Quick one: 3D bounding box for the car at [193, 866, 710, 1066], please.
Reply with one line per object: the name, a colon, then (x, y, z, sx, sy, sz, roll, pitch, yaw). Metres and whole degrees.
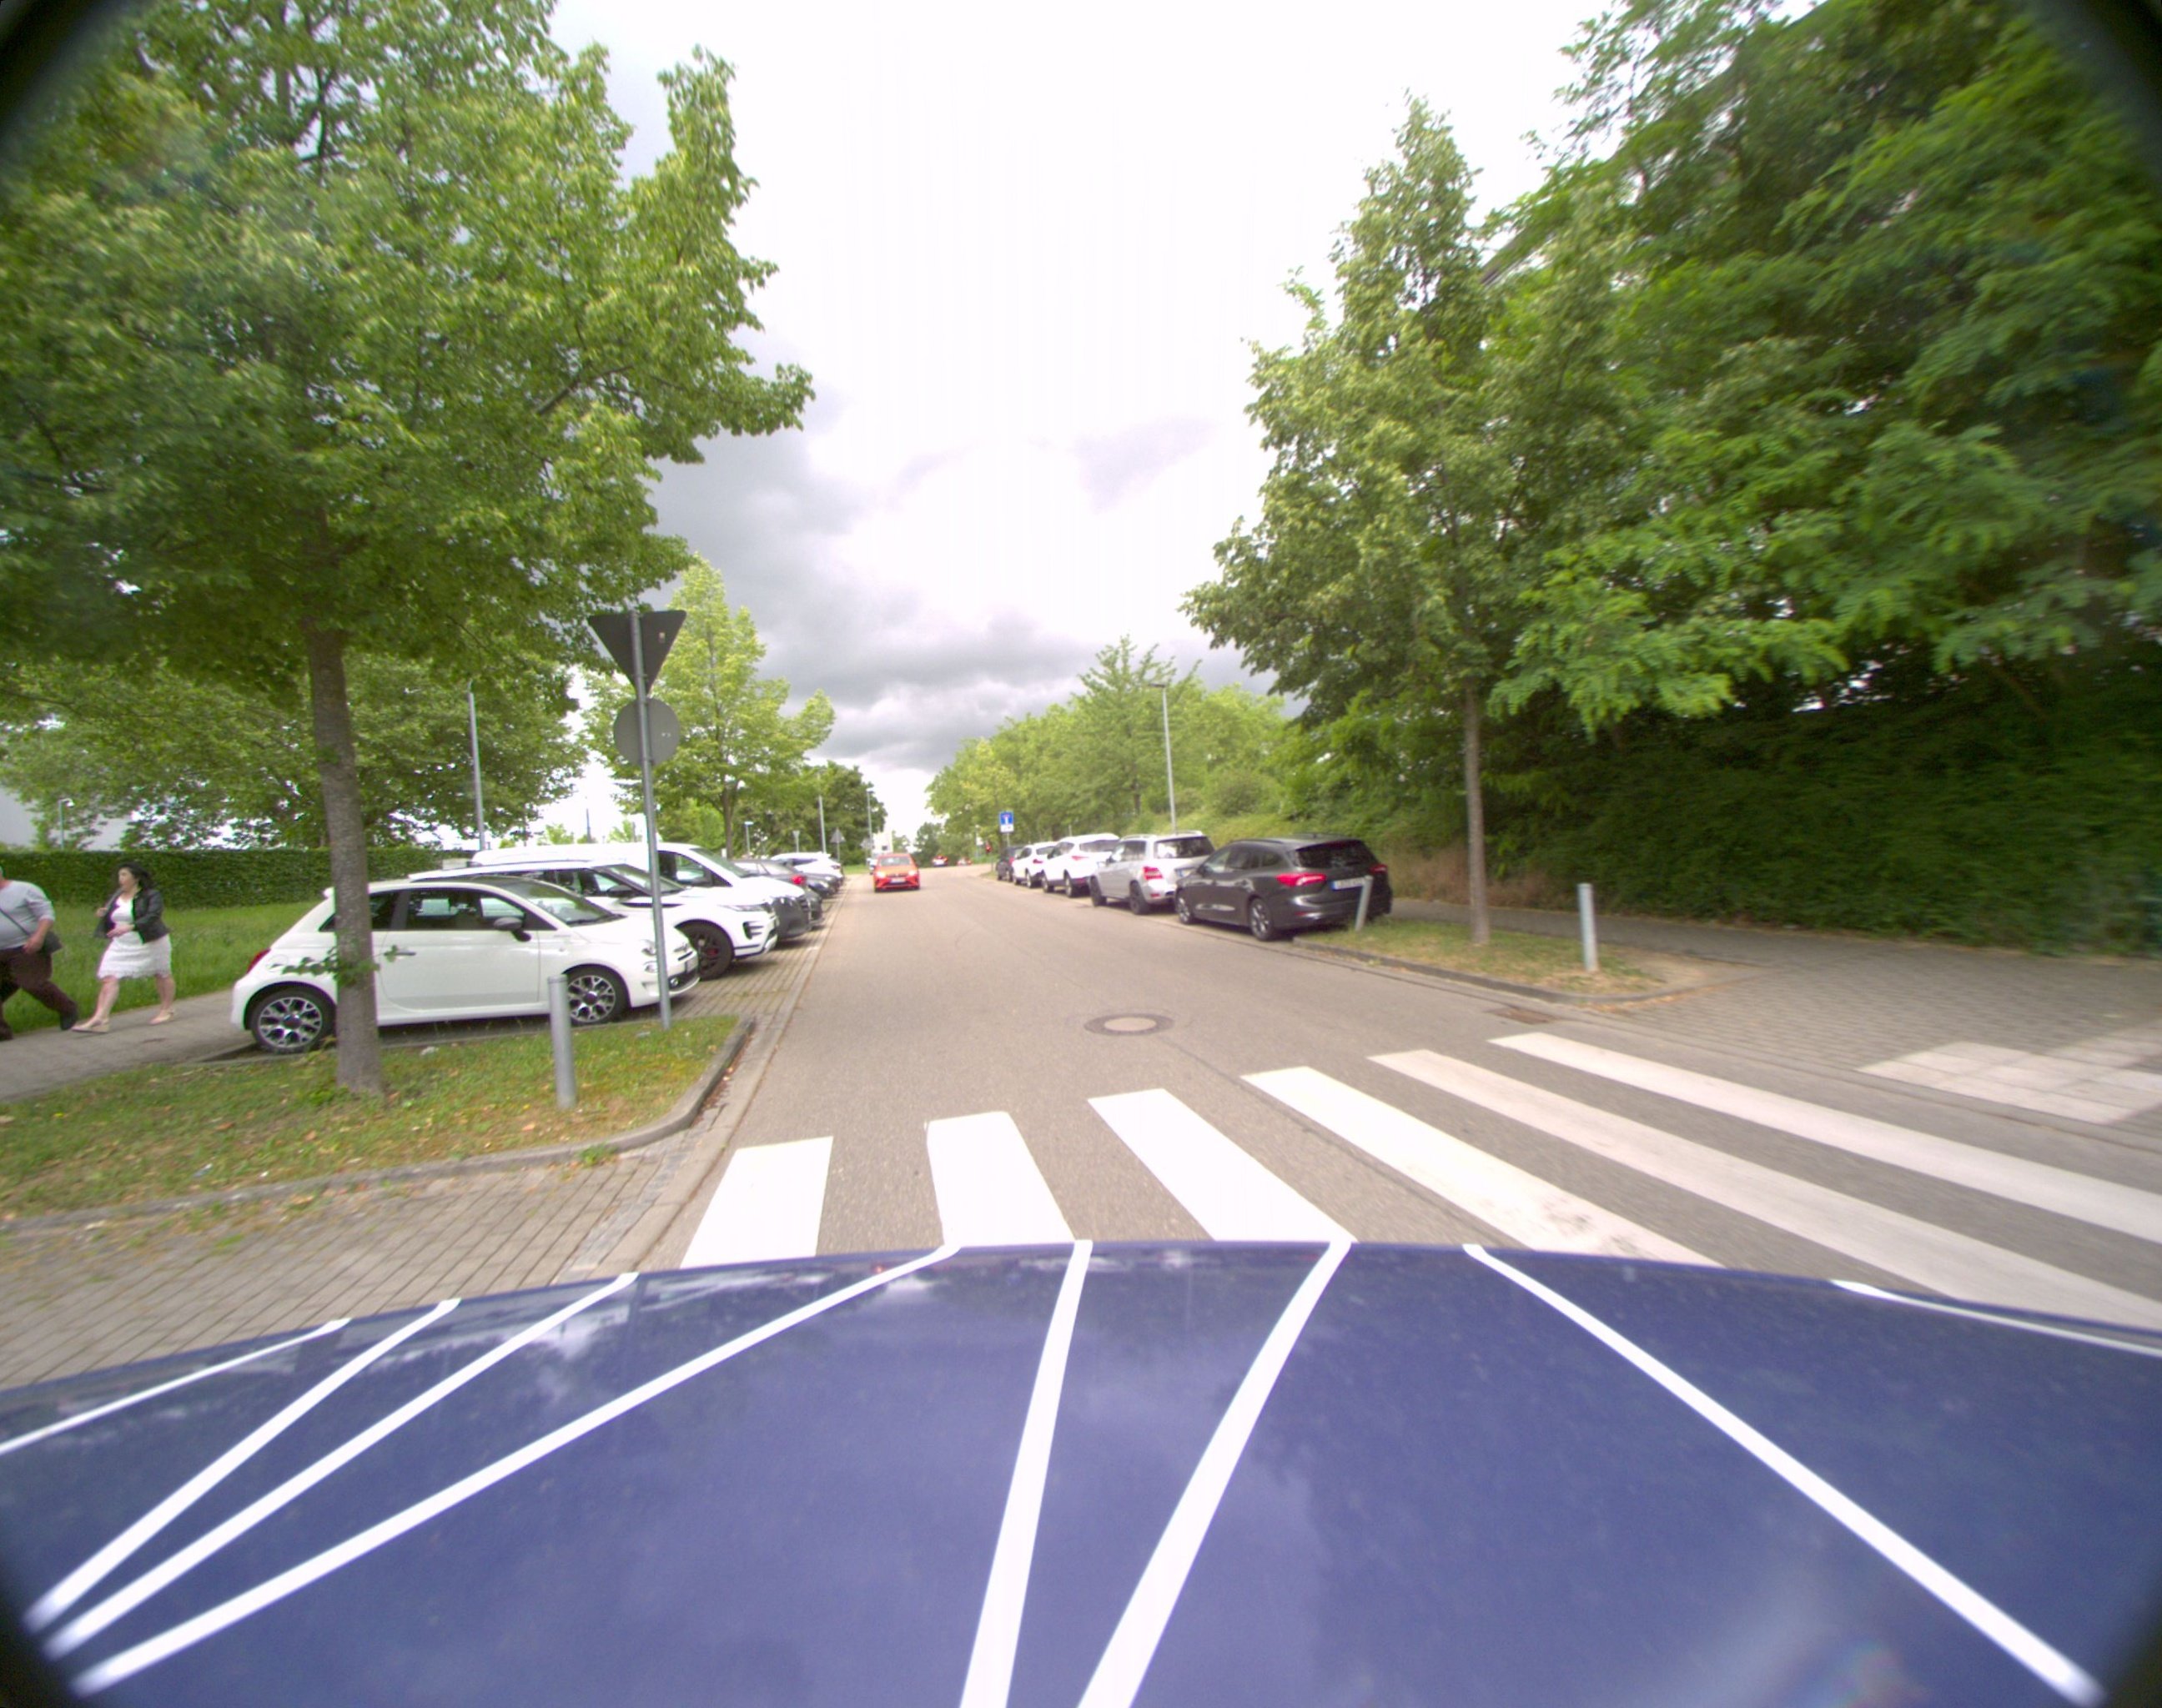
car: (-5.907, 0.963, 7.659, 3.524, 1.453, 1.737, -3, 1, -15)

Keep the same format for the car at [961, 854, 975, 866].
car: (-15.559, 0.754, 104.172, 1.760, 1.507, 3.996, -4, 1, -9)

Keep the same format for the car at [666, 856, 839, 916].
car: (-9.843, 0.910, 23.222, 4.593, 1.483, 1.948, -3, 2, -17)

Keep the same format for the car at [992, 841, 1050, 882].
car: (-2.629, 0.298, 32.632, 1.695, 1.479, 3.948, -7, 2, -14)

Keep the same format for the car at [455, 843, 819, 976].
car: (-6.962, 0.791, 12.524, 4.791, 1.821, 1.840, -2, 1, -14)

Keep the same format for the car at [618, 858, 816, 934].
car: (-8.330, 0.913, 17.786, 3.839, 1.511, 1.909, -2, 1, -15)

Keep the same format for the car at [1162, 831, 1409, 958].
car: (2.935, 0.516, 12.067, 1.695, 1.457, 4.450, -7, 2, -14)

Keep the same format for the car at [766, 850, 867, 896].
car: (-10.789, 0.752, 31.237, 3.683, 1.566, 1.590, -3, 4, -12)

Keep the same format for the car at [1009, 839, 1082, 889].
car: (-1.394, 0.343, 27.866, 1.695, 1.503, 4.225, -7, 2, -14)

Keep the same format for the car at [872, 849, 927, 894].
car: (-7.215, 0.636, 30.456, 1.760, 1.507, 3.996, -4, 2, -9)

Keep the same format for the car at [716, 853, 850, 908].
car: (-10.126, 0.856, 26.126, 4.002, 1.510, 1.881, -4, 2, -16)

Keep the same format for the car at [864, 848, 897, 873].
car: (-13.834, 0.426, 52.663, 1.760, 1.507, 3.996, -4, 1, -9)

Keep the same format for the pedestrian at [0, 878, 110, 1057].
pedestrian: (-10.393, 1.099, 7.399, 0.872, 1.647, 0.592, -4, 1, -16)

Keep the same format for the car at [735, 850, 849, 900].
car: (-10.725, 0.747, 28.428, 3.683, 1.637, 1.849, -2, 1, -12)

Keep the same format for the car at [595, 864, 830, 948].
car: (-7.153, 0.965, 15.159, 3.838, 1.363, 1.840, -2, 1, -12)

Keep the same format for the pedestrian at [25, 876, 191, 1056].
pedestrian: (-9.627, 1.070, 7.552, 0.691, 1.647, 0.599, -4, 1, -16)

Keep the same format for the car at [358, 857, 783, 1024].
car: (-6.273, 0.976, 9.929, 4.166, 1.593, 1.736, -4, 1, -16)

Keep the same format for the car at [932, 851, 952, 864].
car: (-17.428, 0.497, 95.363, 1.904, 1.573, 4.161, 1, -1, -19)

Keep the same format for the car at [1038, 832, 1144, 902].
car: (0.150, 0.338, 22.159, 1.813, 1.655, 4.431, -7, 2, -15)

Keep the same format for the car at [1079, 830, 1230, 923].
car: (1.449, 0.391, 16.953, 1.805, 1.607, 4.471, -7, 3, -14)

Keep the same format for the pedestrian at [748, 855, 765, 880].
pedestrian: (-23.872, 0.990, 55.924, 0.764, 1.712, 0.884, -5, 2, -43)
